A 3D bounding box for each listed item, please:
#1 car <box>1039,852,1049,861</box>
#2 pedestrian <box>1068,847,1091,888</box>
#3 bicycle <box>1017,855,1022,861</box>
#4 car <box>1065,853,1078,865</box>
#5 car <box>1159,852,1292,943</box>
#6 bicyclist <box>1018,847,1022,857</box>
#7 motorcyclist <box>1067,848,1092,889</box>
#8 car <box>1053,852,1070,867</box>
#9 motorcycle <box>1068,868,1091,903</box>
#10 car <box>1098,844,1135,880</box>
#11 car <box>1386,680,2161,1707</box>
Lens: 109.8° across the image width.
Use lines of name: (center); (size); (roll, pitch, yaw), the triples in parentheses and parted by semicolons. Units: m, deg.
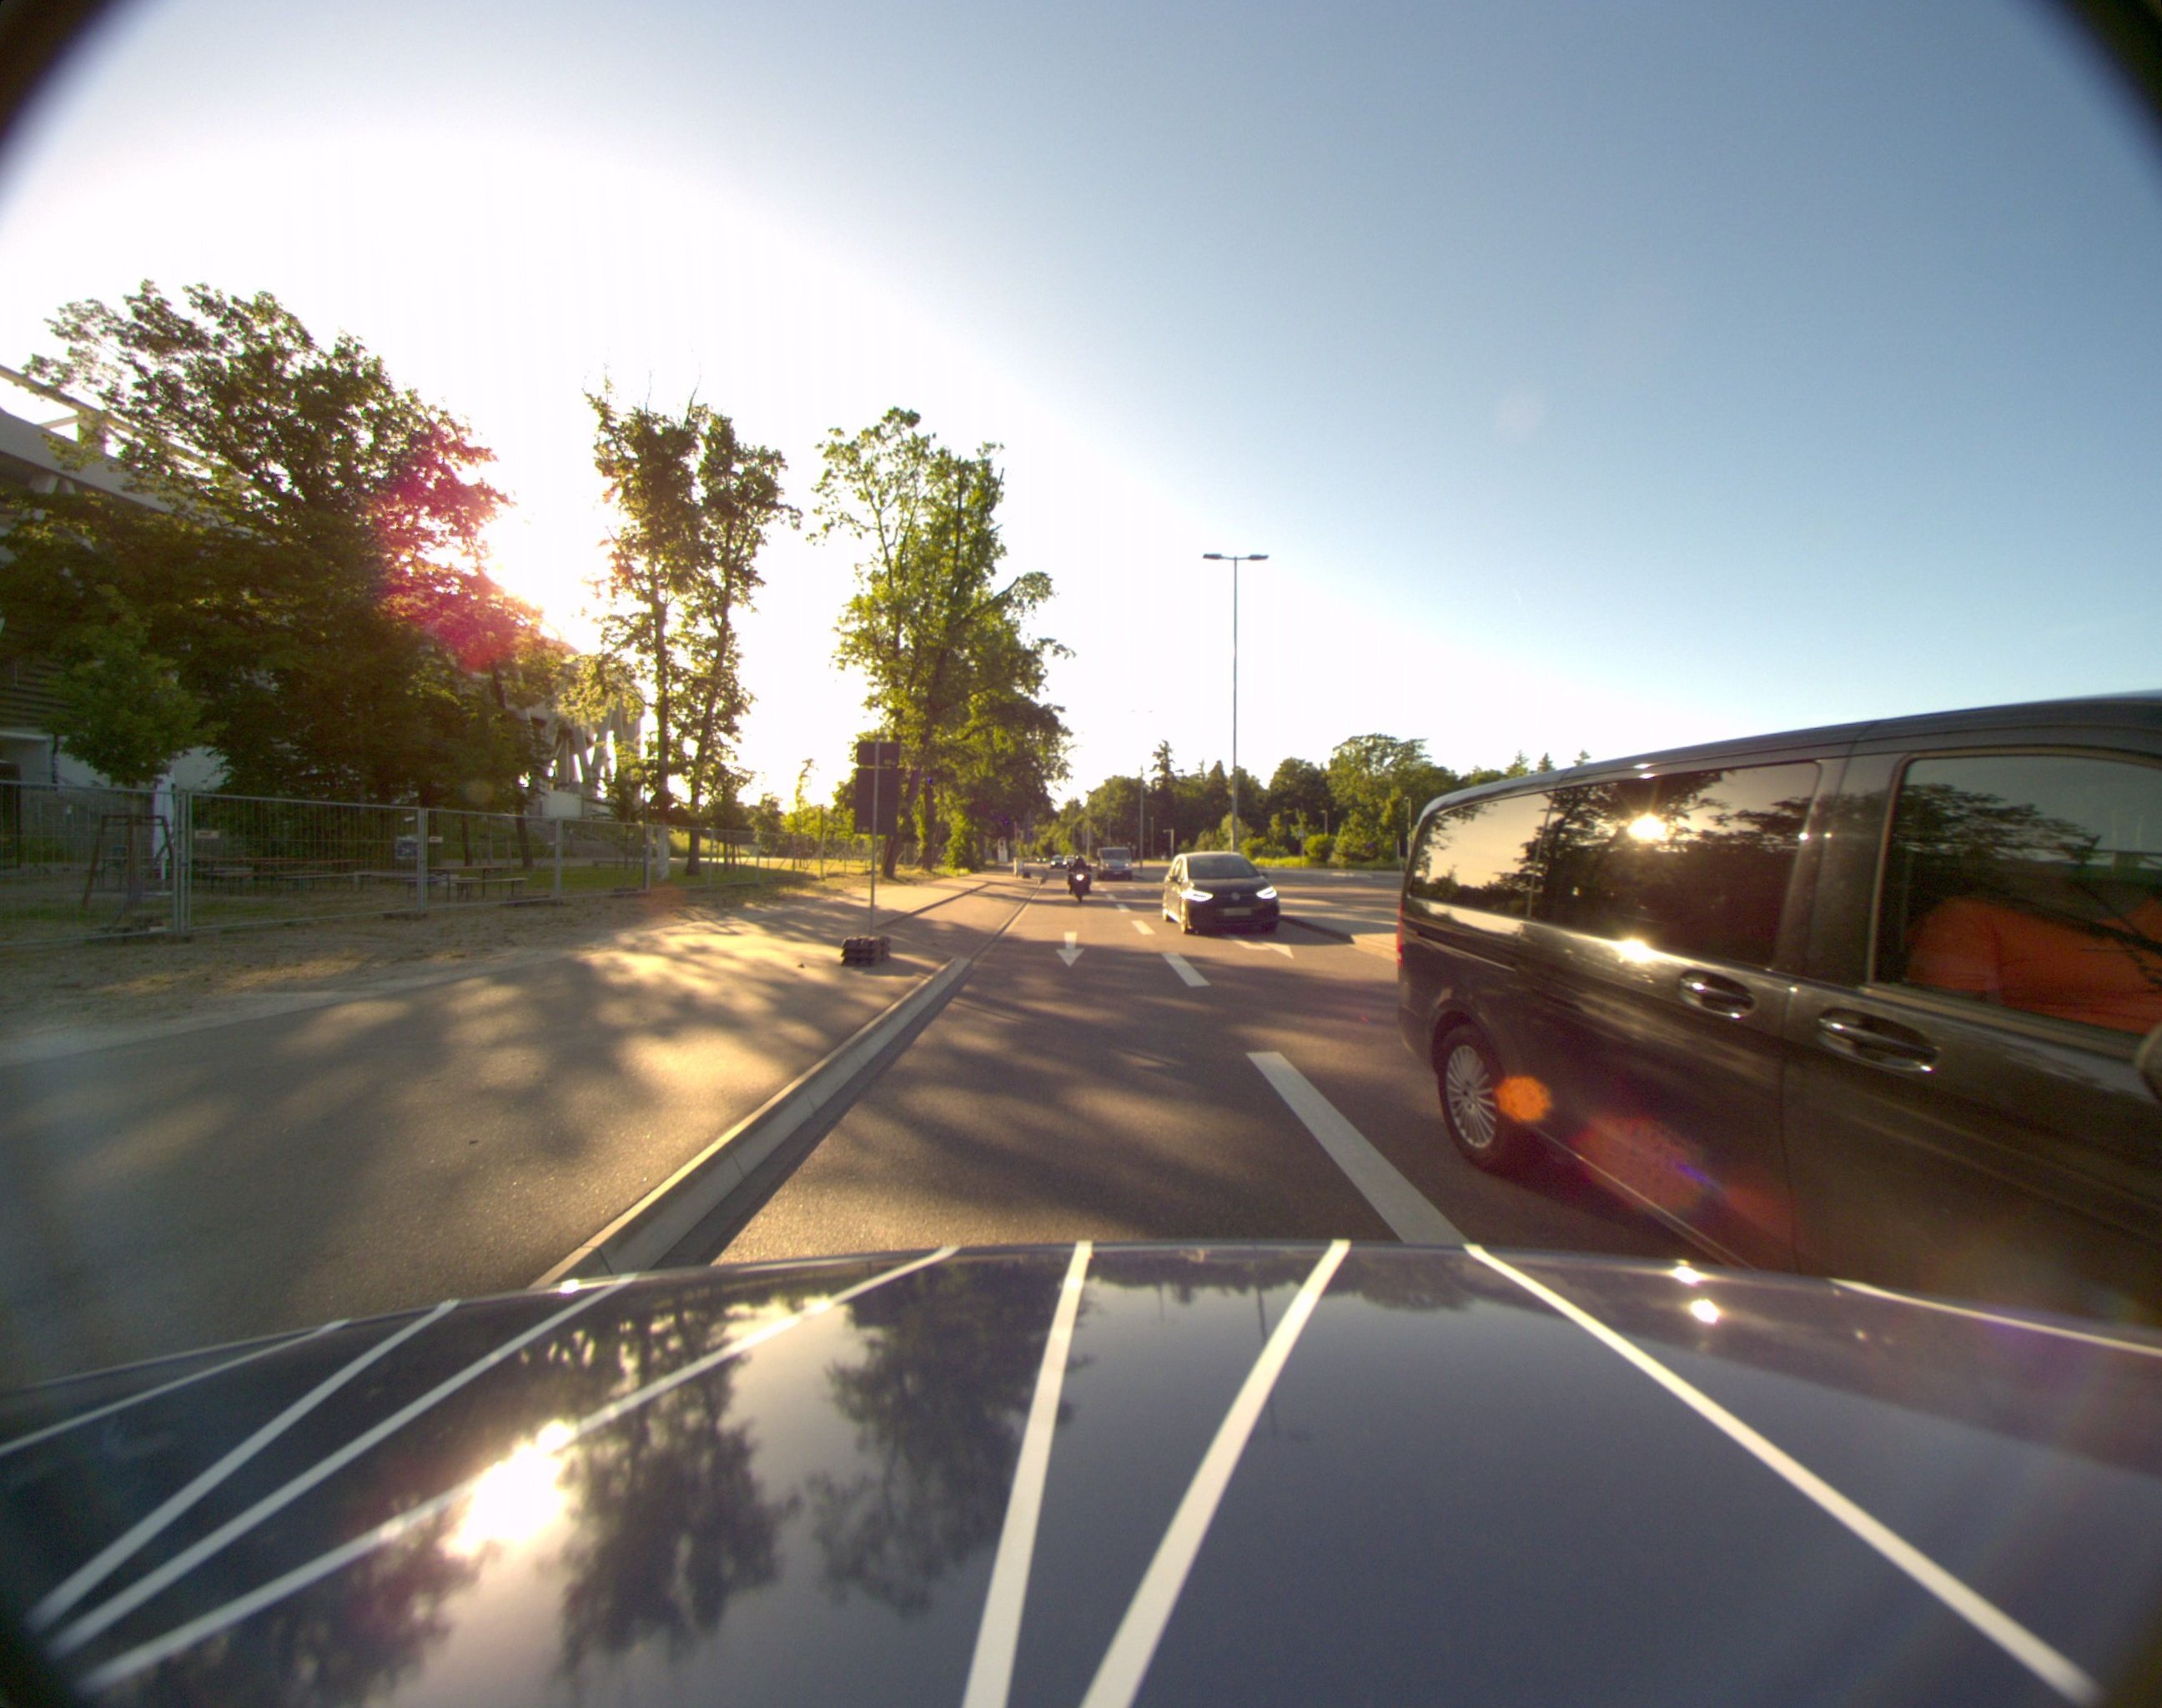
car: (-8.120, 0.447, 167.771); (1.774, 1.849, 3.999); (-2, 1, 1)
pedestrian: (-0.040, 0.477, 26.930); (0.739, 1.387, 0.500); (-2, 1, 1)
bicycle: (-8.329, 0.566, 102.986); (0.481, 0.854, 1.910); (0, 0, 1)
car: (-1.424, 0.737, 115.388); (1.675, 1.827, 3.982); (-2, 1, 1)
car: (2.784, 0.770, 15.530); (1.883, 1.528, 3.999); (-2, 1, 0)
bicyclist: (-8.317, -0.294, 103.060); (0.451, 1.412, 0.575); (0, 1, 0)
motorcyclist: (-0.046, 0.495, 26.382); (0.822, 1.367, 0.476); (-2, 1, 1)
car: (-2.237, 0.602, 89.962); (1.883, 1.629, 5.048); (-2, 0, 0)
motorcycle: (-0.027, 1.056, 26.435); (0.717, 1.058, 2.721); (-2, 0, 1)
car: (2.079, 0.450, 45.593); (1.883, 1.951, 5.048); (-2, 0, 0)
car: (2.679, 0.604, 1.814); (1.912, 1.845, 4.872); (-2, 1, 0)
